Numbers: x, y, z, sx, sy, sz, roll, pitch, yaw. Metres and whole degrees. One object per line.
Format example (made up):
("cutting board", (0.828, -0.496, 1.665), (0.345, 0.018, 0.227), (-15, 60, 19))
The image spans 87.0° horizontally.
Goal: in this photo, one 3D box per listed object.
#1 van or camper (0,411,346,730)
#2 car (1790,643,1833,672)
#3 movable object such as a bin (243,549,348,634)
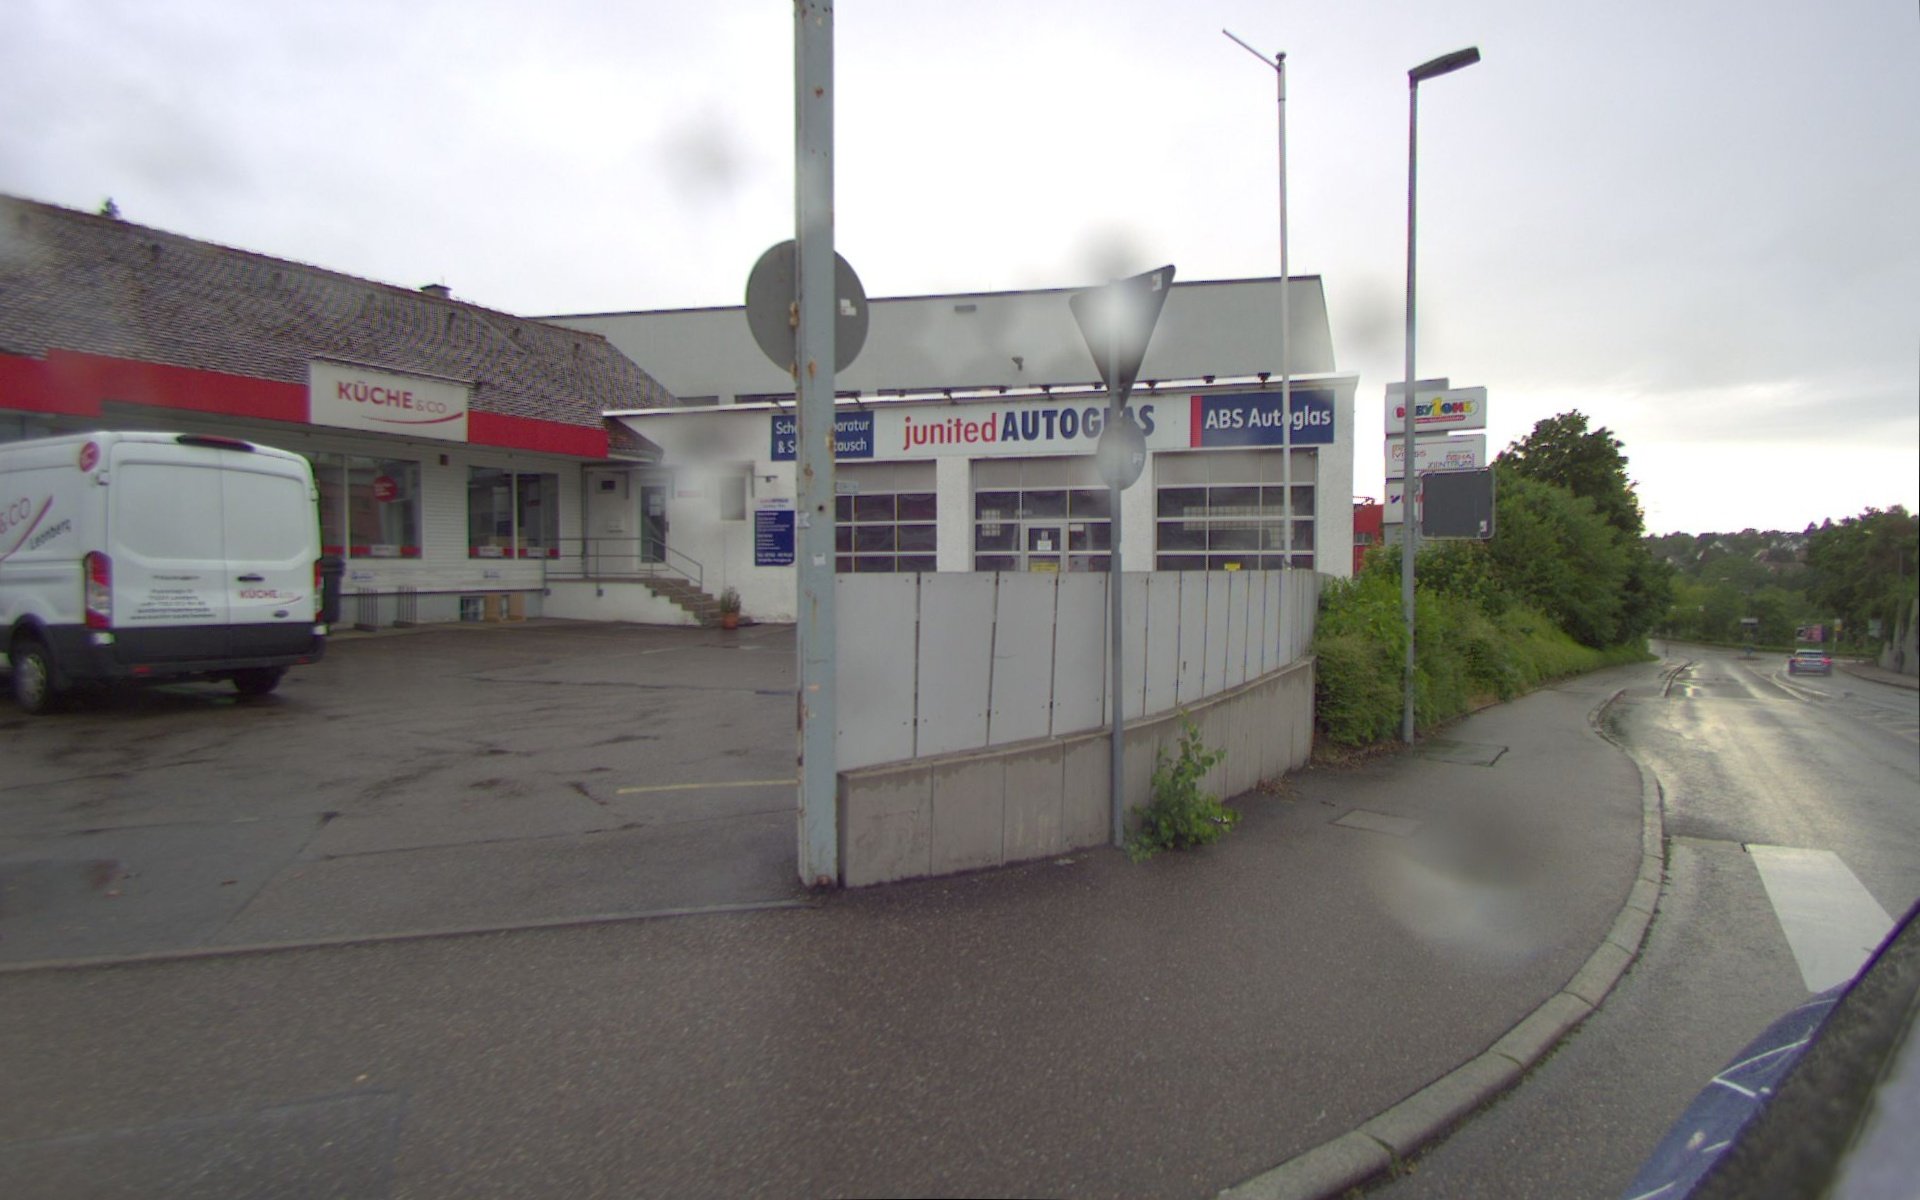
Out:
("van or camper", (-8.873, -0.331, 10.327), (5.214, 2.571, 2.110), (2, 2, 28))
("car", (47.858, 3.207, 56.857), (1.803, 1.483, 3.940), (1, -1, 41))
("movable object such as a bin", (-11.753, -0.155, 17.919), (1.159, 1.360, 1.155), (6, 3, 32))
